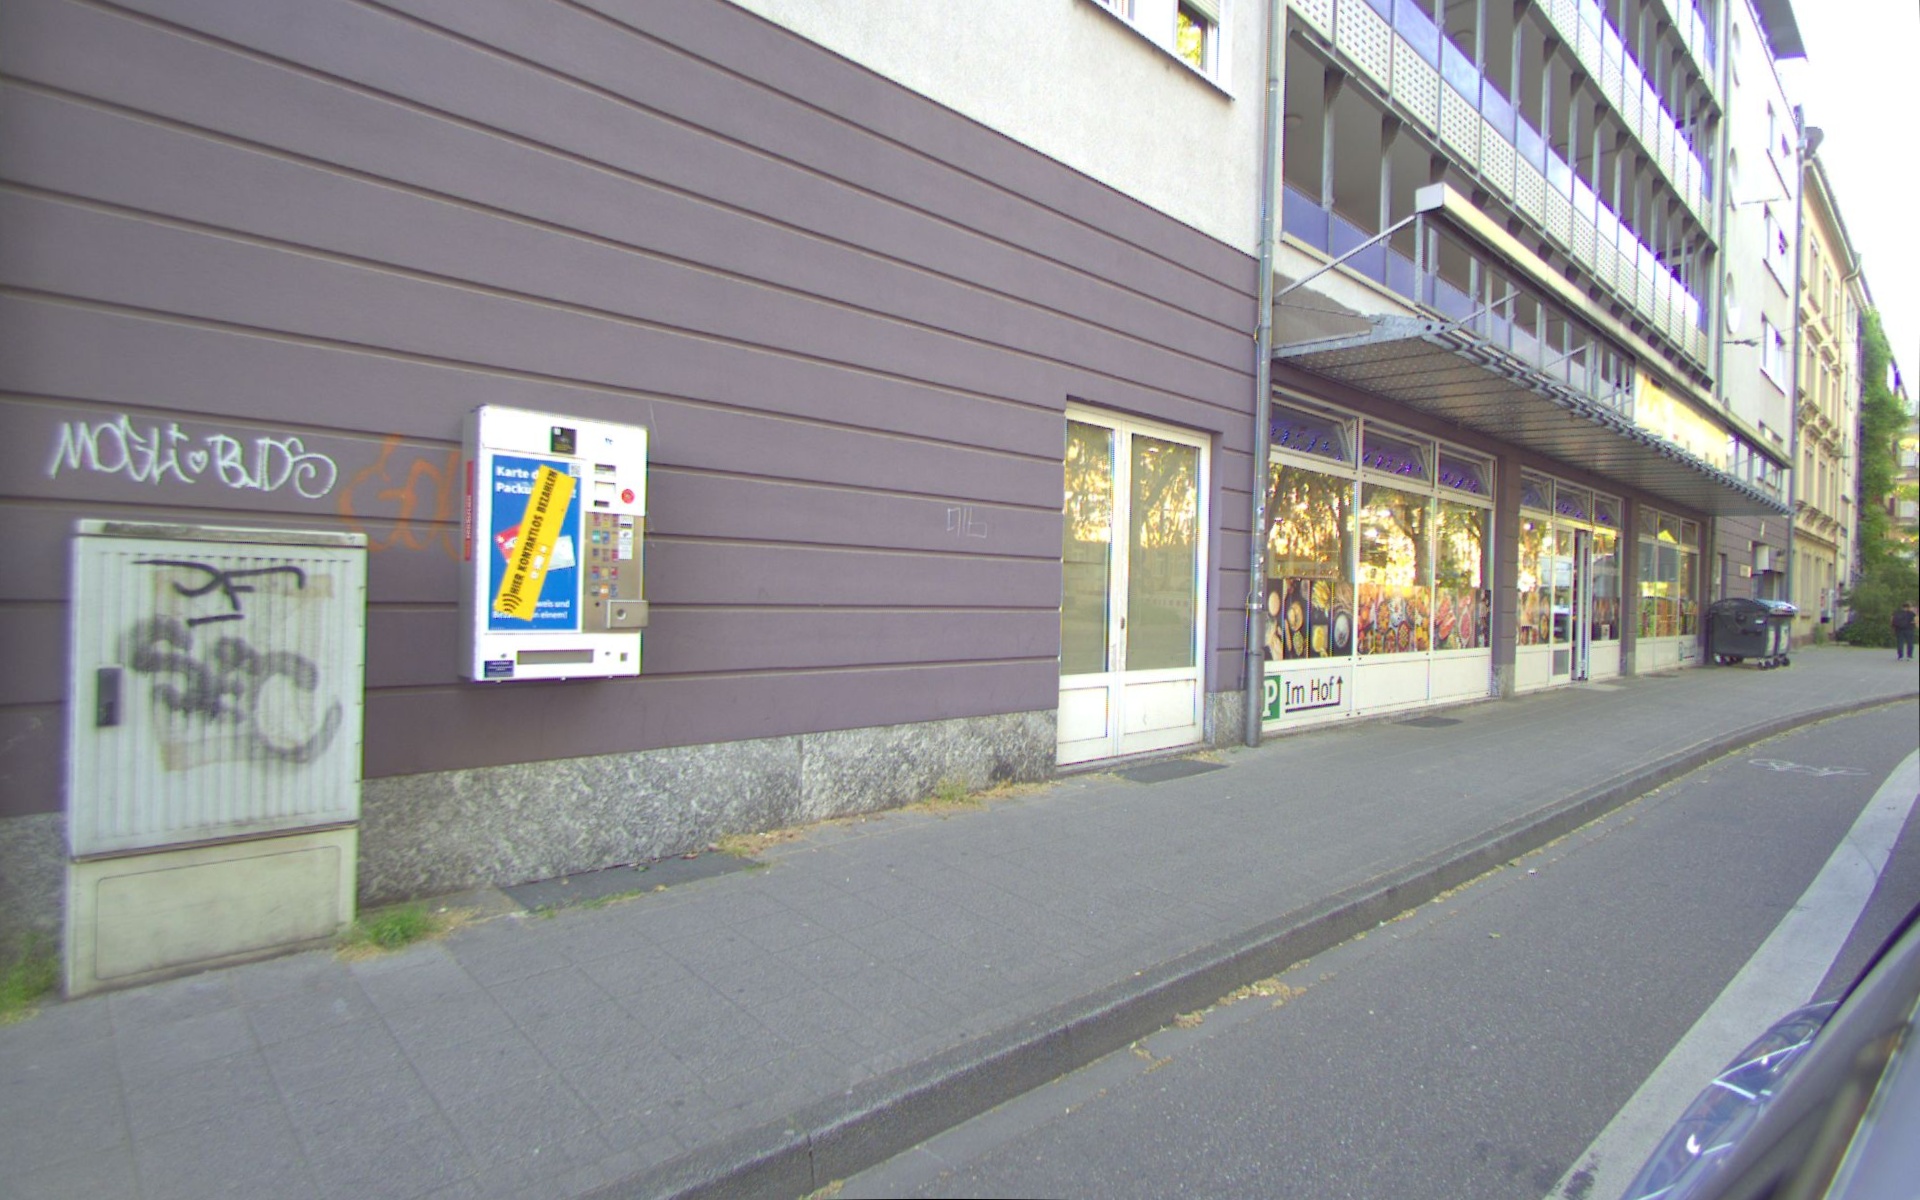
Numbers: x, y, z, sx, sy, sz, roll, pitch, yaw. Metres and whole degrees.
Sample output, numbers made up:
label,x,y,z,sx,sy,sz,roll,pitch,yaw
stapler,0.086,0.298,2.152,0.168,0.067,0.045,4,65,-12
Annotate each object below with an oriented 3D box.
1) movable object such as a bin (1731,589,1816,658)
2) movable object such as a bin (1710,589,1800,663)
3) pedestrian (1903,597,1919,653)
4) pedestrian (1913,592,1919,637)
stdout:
label,x,y,z,sx,sy,sz,roll,pitch,yaw
movable object such as a bin,17.869,0.489,22.234,1.348,1.427,1.203,1,1,-41
movable object such as a bin,16.420,0.510,20.906,1.348,1.427,1.203,1,1,-41
pedestrian,25.376,0.651,26.773,0.619,1.463,0.540,1,1,-41
pedestrian,36.383,0.561,38.175,0.504,1.693,0.540,1,1,-41
